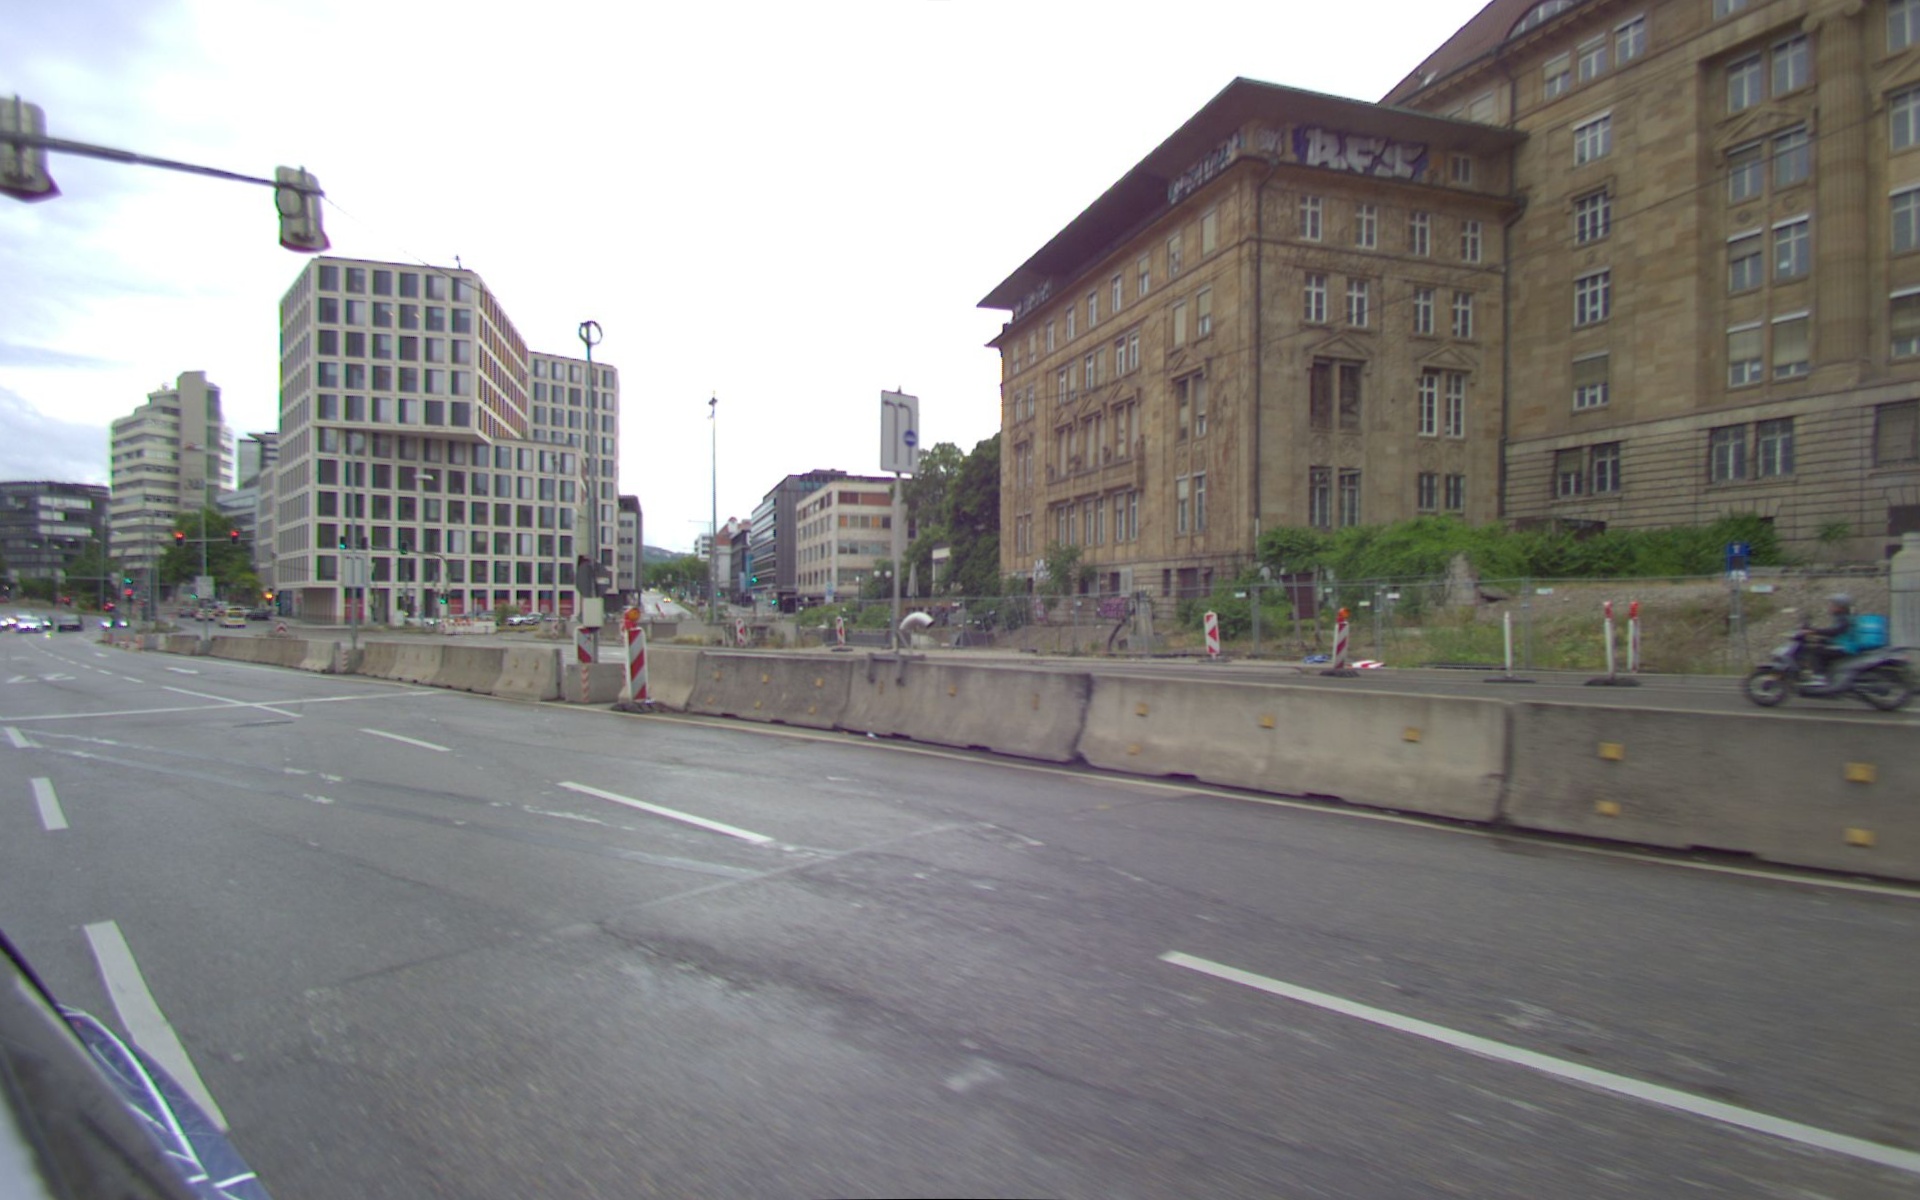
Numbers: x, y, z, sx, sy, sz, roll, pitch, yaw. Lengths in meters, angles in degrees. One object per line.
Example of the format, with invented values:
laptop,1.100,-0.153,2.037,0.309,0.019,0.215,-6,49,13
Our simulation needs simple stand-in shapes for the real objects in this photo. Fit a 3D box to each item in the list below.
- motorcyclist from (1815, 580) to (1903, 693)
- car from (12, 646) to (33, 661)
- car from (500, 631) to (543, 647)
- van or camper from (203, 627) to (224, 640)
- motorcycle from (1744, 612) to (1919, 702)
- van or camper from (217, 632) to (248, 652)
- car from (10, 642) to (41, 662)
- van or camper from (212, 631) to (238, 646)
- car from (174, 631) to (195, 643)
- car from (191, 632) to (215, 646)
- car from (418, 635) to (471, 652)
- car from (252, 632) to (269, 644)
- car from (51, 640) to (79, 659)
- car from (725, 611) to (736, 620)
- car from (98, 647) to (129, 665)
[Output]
motorcyclist,12.194,0.490,13.757,0.825,1.462,0.790,-3,-2,41
car,-107.374,6.107,115.915,1.647,1.495,3.490,0,-1,-42
car,-49.891,4.443,115.104,1.855,1.729,4.078,-2,-2,38
van or camper,-113.666,5.087,154.035,4.257,1.994,1.825,-1,0,44
motorcycle,12.147,0.759,13.850,2.153,1.157,0.860,-3,-2,41
van or camper,-81.901,4.718,113.874,2.212,2.070,5.614,0,0,-43
car,-89.448,4.947,96.929,1.987,1.751,4.670,0,-2,-41
van or camper,-96.471,5.020,132.765,5.214,1.908,1.860,-1,0,44
car,-113.244,5.334,147.753,4.182,1.610,1.825,-1,0,44
car,-99.550,5.132,133.088,4.382,1.686,1.821,-1,0,44
car,-56.797,4.763,111.527,2.230,1.766,4.743,-3,-2,44
car,-94.164,5.136,136.216,1.836,1.534,4.009,0,-1,-36
car,-87.342,4.812,98.829,1.987,1.610,4.670,0,0,-41
car,-49.718,3.383,219.301,1.967,2.029,4.008,0,-1,-10
car,-84.914,5.580,101.565,1.985,1.610,4.674,0,0,-36
